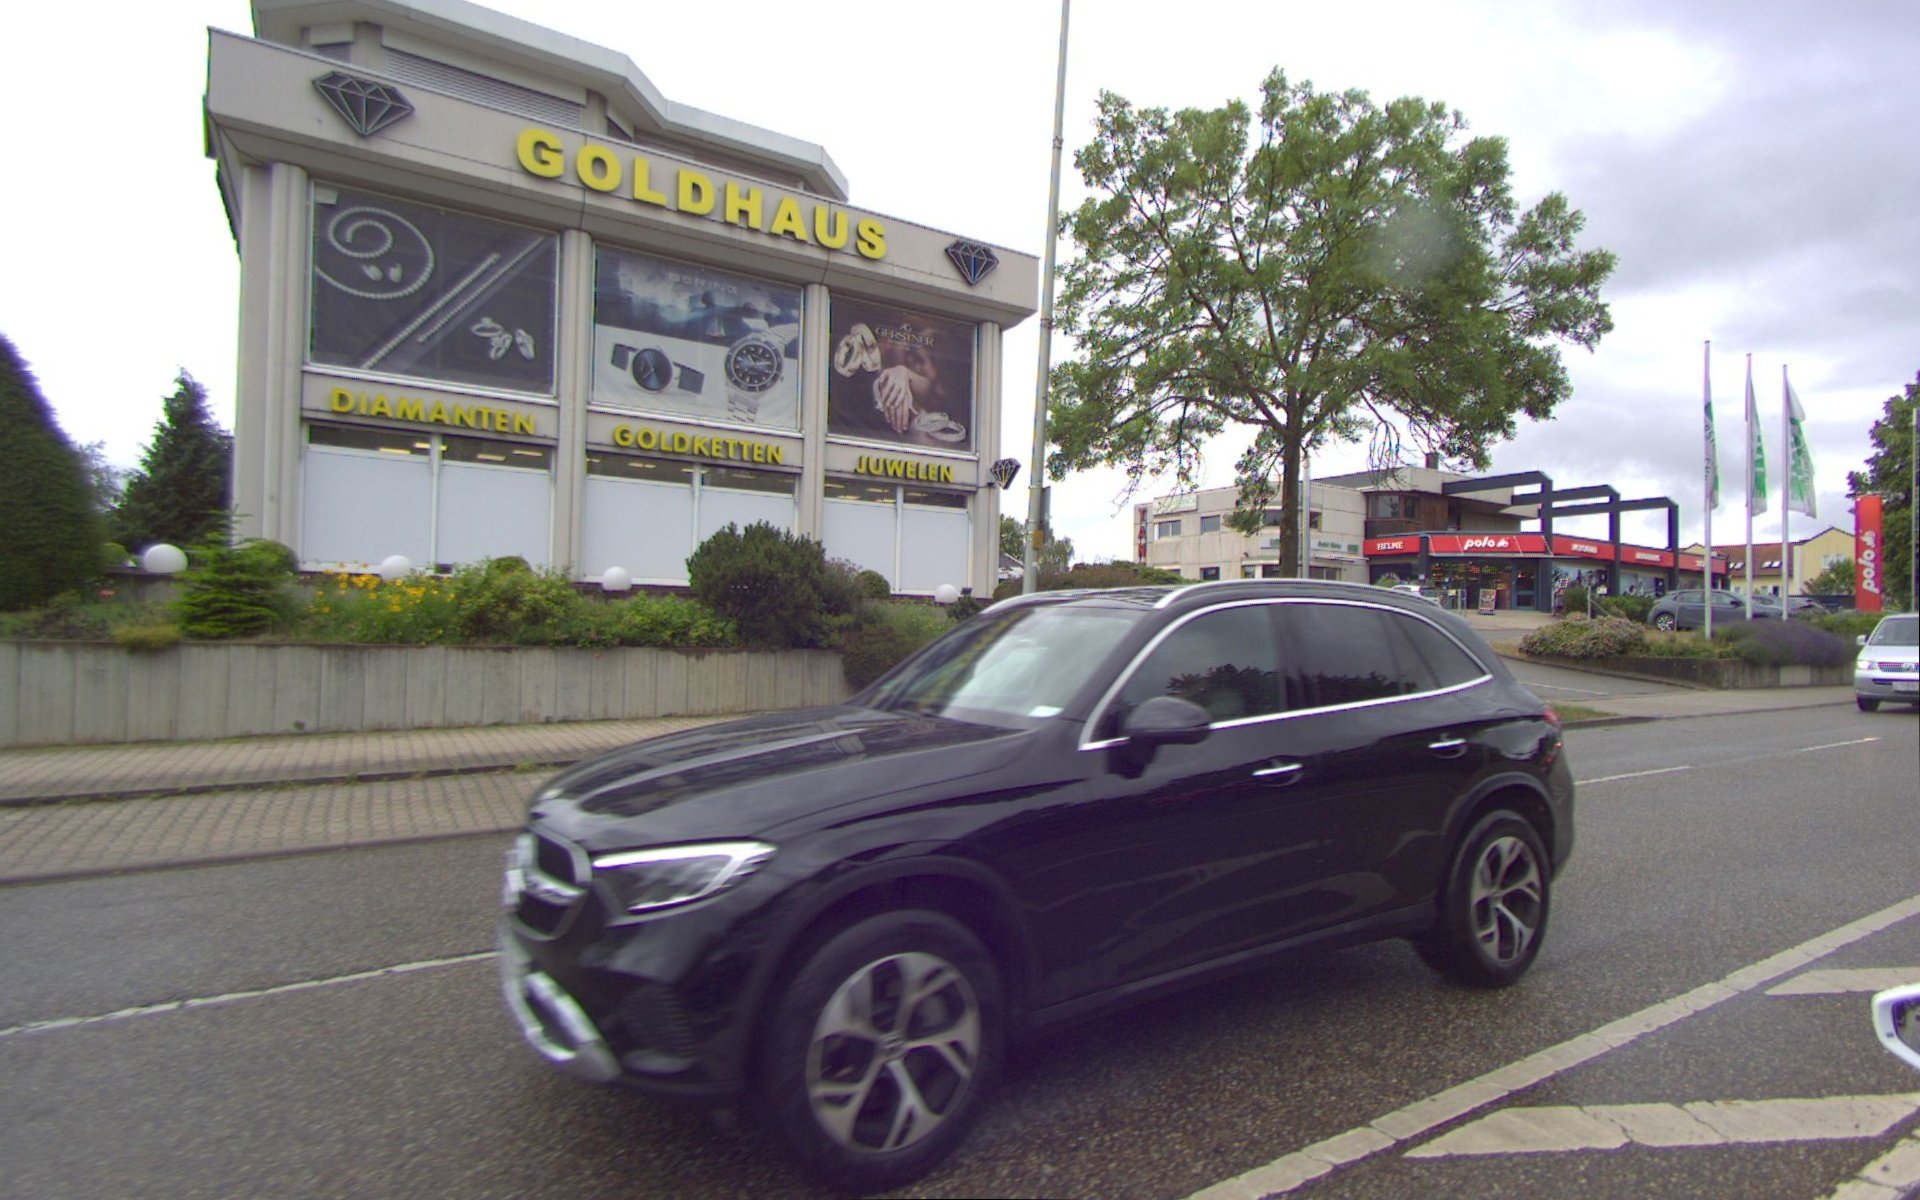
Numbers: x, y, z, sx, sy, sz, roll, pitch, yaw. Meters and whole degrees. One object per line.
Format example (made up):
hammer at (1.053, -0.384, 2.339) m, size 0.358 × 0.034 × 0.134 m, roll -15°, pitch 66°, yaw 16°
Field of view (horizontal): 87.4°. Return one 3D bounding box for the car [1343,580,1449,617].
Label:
car at (18.695, -0.017, 43.179) m, size 1.856 × 1.502 × 3.802 m, roll 1°, pitch -1°, yaw -35°

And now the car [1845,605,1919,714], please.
car at (19.631, 1.135, 19.991) m, size 4.846 × 2.009 × 1.785 m, roll 1°, pitch -3°, yaw -33°

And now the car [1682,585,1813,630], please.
car at (28.286, 0.307, 36.187) m, size 1.564 × 1.529 × 3.398 m, roll 1°, pitch -2°, yaw -31°

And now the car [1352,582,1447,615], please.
car at (21.209, -0.036, 48.589) m, size 1.851 × 1.532 × 3.975 m, roll 1°, pitch -1°, yaw -27°

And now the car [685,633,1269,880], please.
car at (0.215, 0.989, 7.800) m, size 4.249 × 1.420 × 1.785 m, roll 1°, pitch -2°, yaw -30°

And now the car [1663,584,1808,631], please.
car at (26.567, 0.279, 34.499) m, size 1.726 × 1.502 × 3.621 m, roll 1°, pitch -1°, yaw -37°

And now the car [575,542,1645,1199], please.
car at (0.783, 0.739, 4.186) m, size 4.235 × 1.628 × 1.814 m, roll 1°, pitch -2°, yaw -31°

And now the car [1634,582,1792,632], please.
car at (24.419, 0.253, 32.684) m, size 1.726 × 1.502 × 3.799 m, roll 1°, pitch -1°, yaw -37°

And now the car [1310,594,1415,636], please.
car at (15.344, 0.609, 38.273) m, size 3.956 × 1.532 × 1.666 m, roll 1°, pitch -3°, yaw -31°
